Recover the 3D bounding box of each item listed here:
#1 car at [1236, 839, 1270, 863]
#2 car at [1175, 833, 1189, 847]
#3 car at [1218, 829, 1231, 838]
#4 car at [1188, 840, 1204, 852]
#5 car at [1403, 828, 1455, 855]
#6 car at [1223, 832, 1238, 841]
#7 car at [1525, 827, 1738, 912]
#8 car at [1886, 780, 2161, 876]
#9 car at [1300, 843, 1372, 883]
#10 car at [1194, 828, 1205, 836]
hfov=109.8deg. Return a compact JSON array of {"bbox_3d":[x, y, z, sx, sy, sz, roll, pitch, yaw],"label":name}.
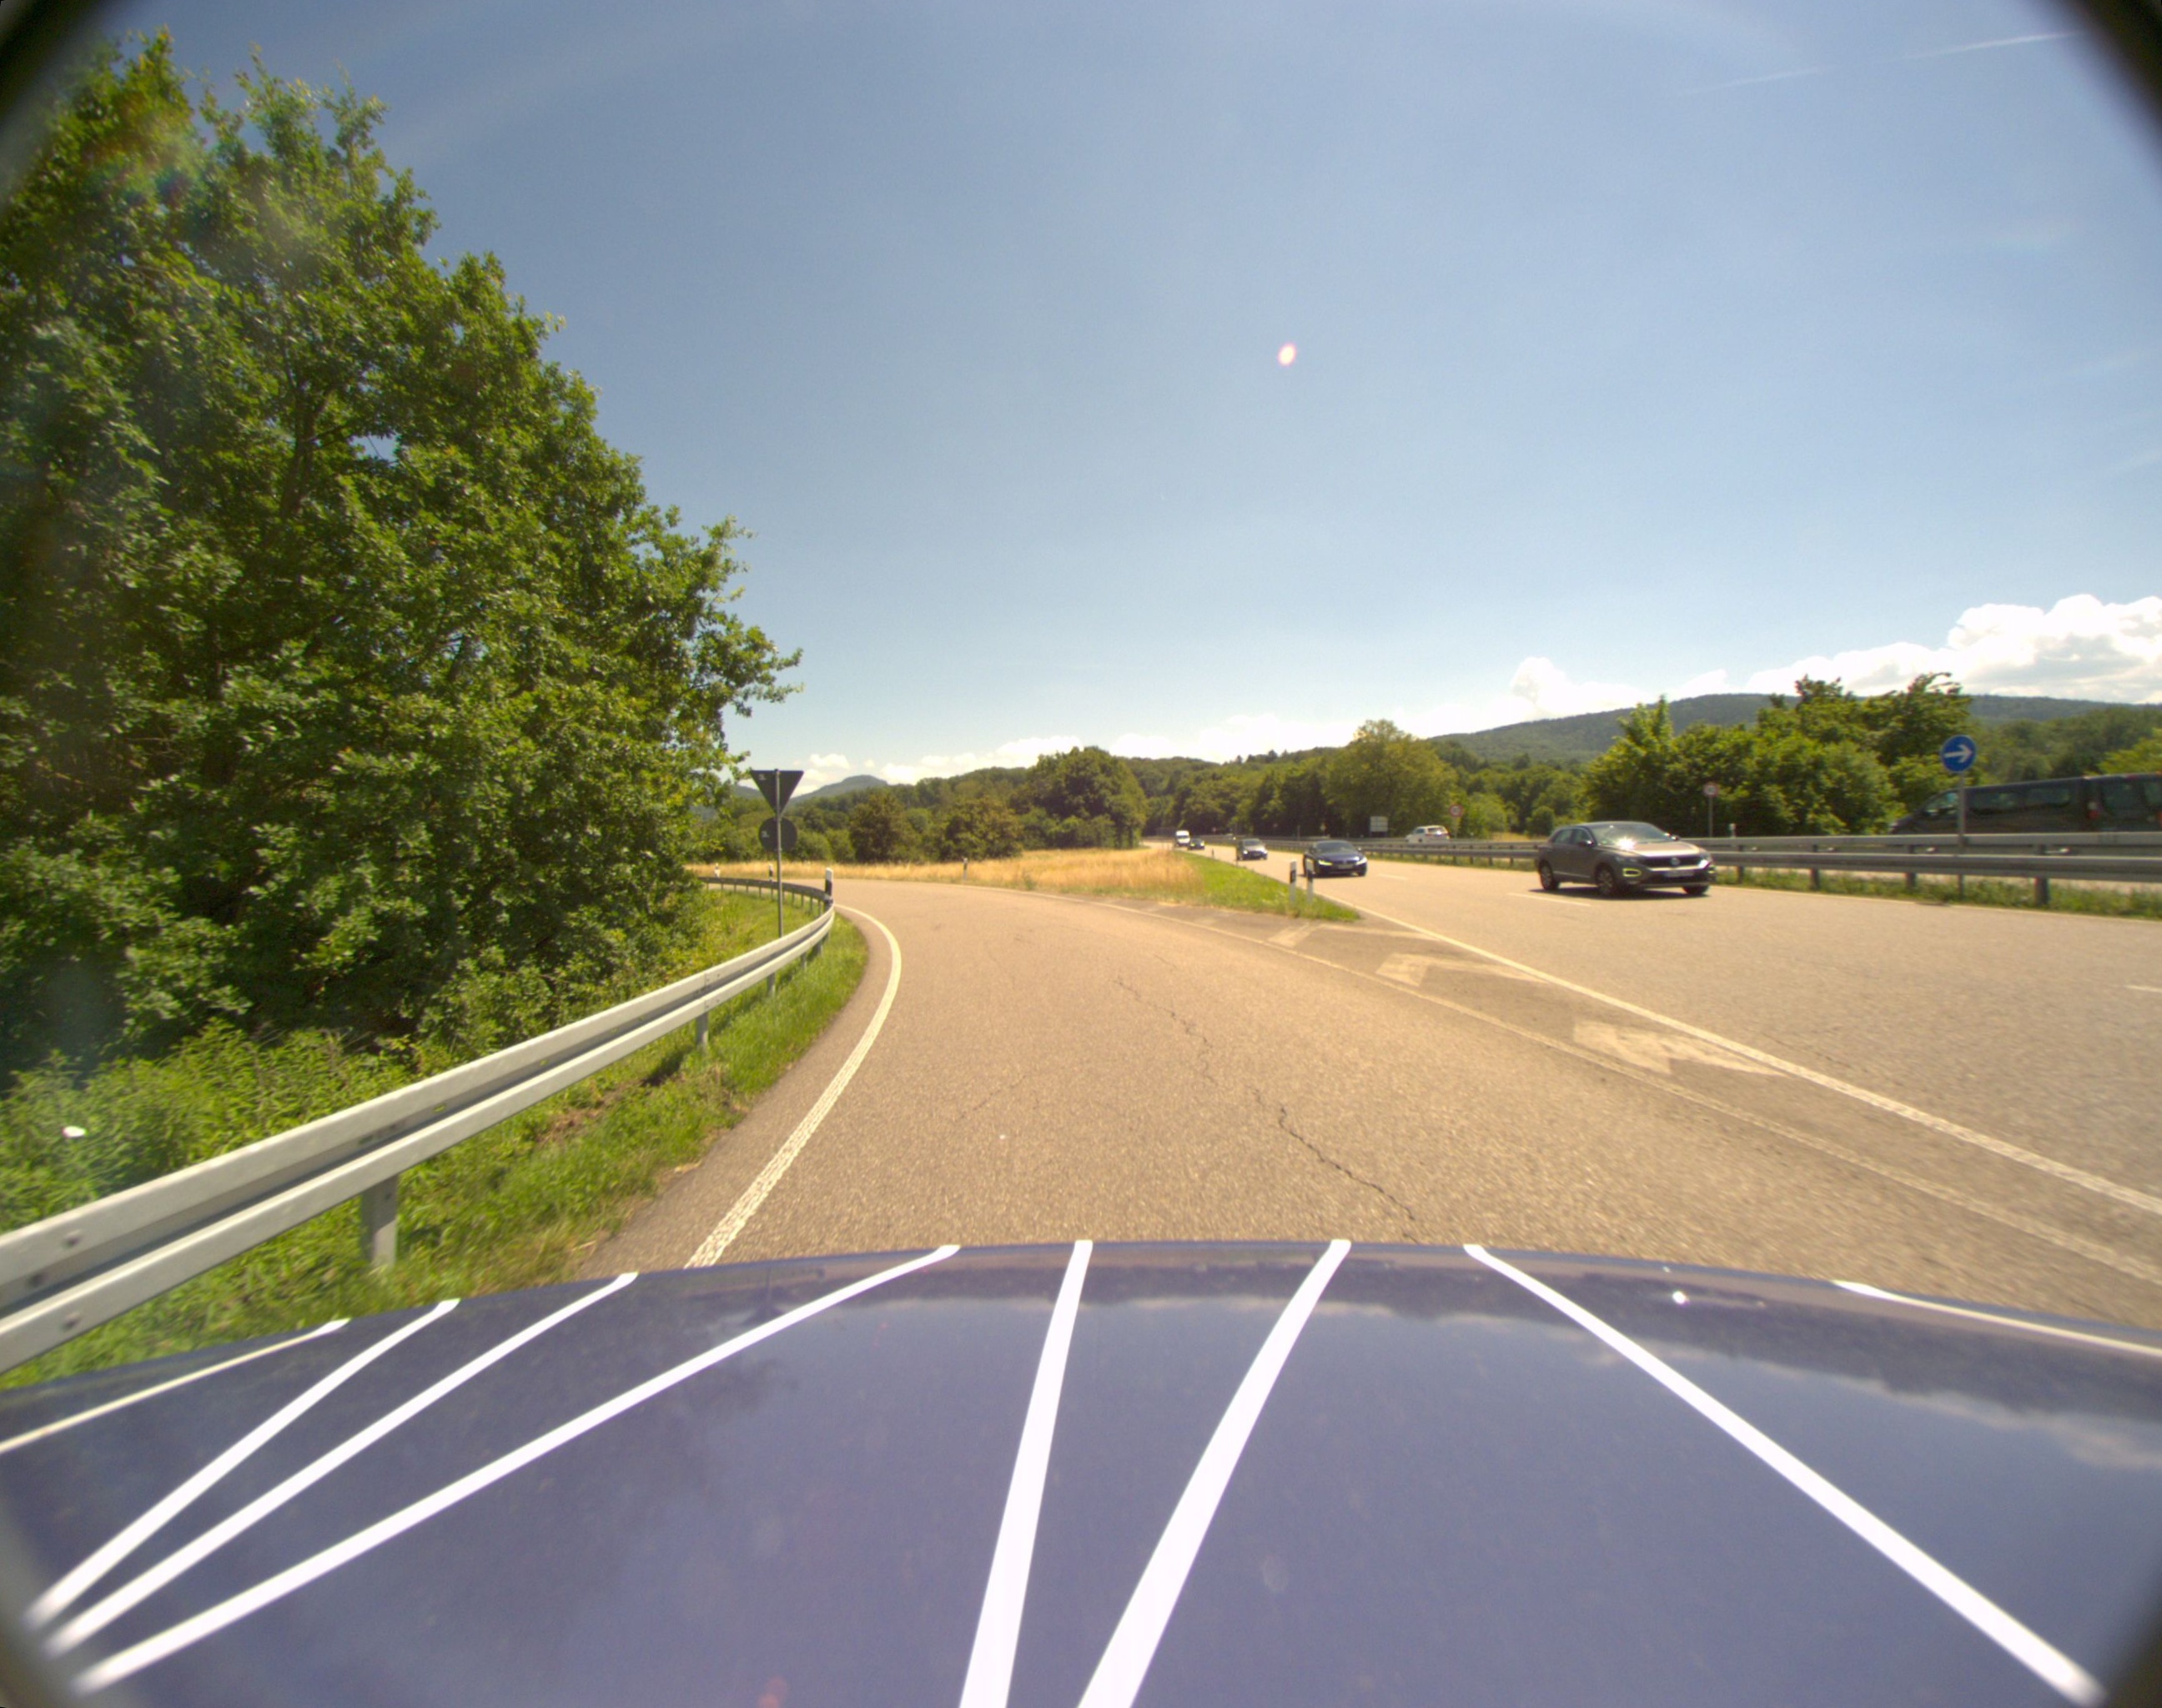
[{"bbox_3d":[12.843,-0.224,56.976,1.797,1.658,4.555,-2,0,4],"label":"car"},{"bbox_3d":[15.889,-2.186,119.383,2.007,1.988,4.580,-3,2,7],"label":"car"},{"bbox_3d":[31.634,-4.492,167.954,1.998,1.882,4.911,-2,2,2],"label":"car"},{"bbox_3d":[14.824,-1.097,98.150,1.845,1.400,4.471,-2,1,8],"label":"car"},{"bbox_3d":[26.668,-1.023,58.386,1.998,1.882,4.912,-2,2,4],"label":"car"},{"bbox_3d":[28.672,-3.363,146.069,1.935,1.741,4.910,-2,2,1],"label":"car"},{"bbox_3d":[11.614,0.270,16.488,1.845,1.521,4.472,-3,0,9],"label":"car"},{"bbox_3d":[22.033,-0.630,17.627,2.207,1.882,4.915,-2,2,12],"label":"car"},{"bbox_3d":[10.112,0.316,30.488,1.845,1.399,4.472,-3,0,7],"label":"car"},{"bbox_3d":[29.806,-5.515,191.427,1.998,1.882,4.911,-2,2,2],"label":"car"}]
